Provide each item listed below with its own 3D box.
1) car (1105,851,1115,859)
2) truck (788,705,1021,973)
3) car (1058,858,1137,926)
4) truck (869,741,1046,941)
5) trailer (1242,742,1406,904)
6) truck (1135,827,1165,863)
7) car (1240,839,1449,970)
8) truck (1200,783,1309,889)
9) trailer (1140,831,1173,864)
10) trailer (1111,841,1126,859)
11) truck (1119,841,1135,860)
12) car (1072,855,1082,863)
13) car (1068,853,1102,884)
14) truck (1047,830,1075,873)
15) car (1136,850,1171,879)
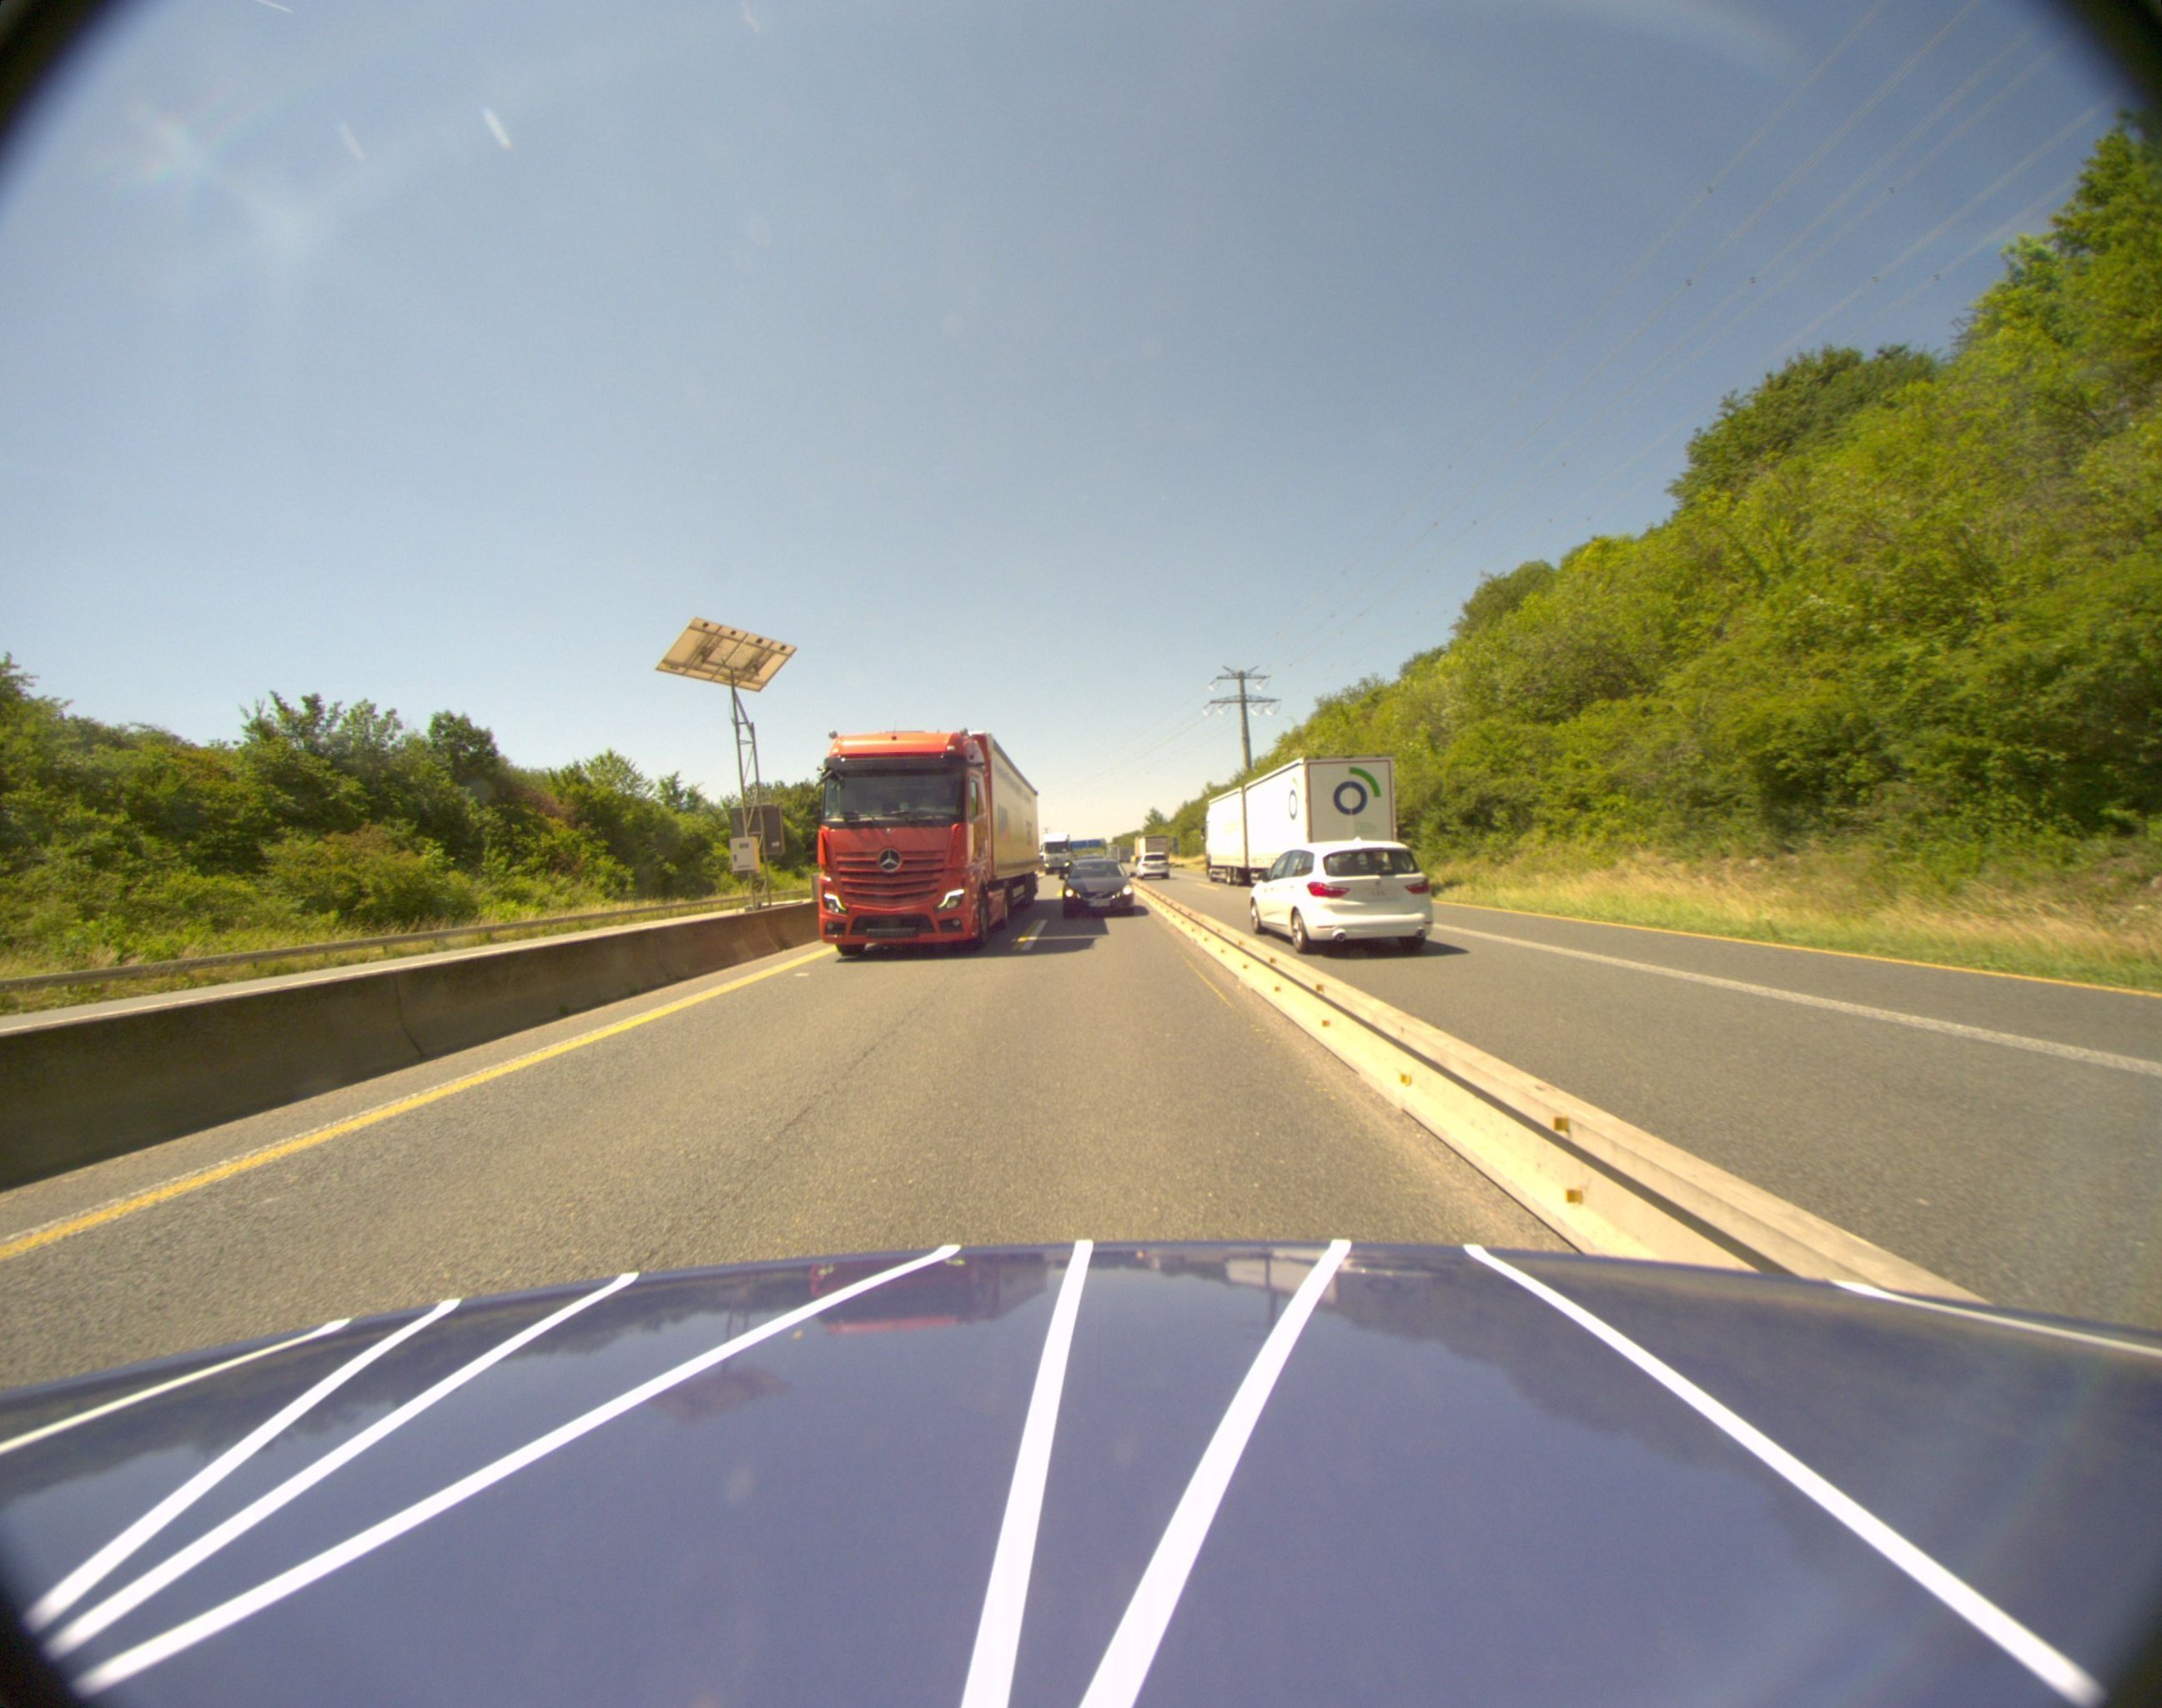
[{"bbox_3d":[6.046,0.238,156.539,1.846,1.481,4.510,-2,1,0],"label":"car"},{"bbox_3d":[-2.986,-0.256,15.067,2.689,3.987,6.725,-3,1,2],"label":"truck"},{"bbox_3d":[0.430,0.901,20.019,1.767,1.411,4.699,-3,1,1],"label":"car"},{"bbox_3d":[-2.844,-0.333,22.238,2.689,3.987,13.217,-3,1,1],"label":"truck"},{"bbox_3d":[7.565,-0.856,25.084,2.644,4.287,8.447,-3,0,1],"label":"trailer"},{"bbox_3d":[8.372,-1.095,93.540,2.656,3.969,9.650,-4,0,1],"label":"truck"},{"bbox_3d":[3.904,0.641,12.098,1.767,1.622,4.296,-3,1,0],"label":"car"},{"bbox_3d":[7.520,-0.701,34.531,2.416,3.969,10.351,-3,0,0],"label":"truck"},{"bbox_3d":[8.257,-0.710,84.256,2.657,3.317,8.919,-4,0,1],"label":"trailer"},{"bbox_3d":[9.085,-0.983,183.623,2.899,4.101,13.243,-3,0,0],"label":"trailer"},{"bbox_3d":[8.904,-0.709,148.437,2.412,3.311,7.497,-3,2,0],"label":"truck"},{"bbox_3d":[-0.812,0.947,152.394,1.767,1.523,4.698,-3,1,-1],"label":"car"},{"bbox_3d":[0.235,0.778,43.381,1.767,1.523,4.699,-3,1,1],"label":"car"},{"bbox_3d":[-1.913,-0.227,78.974,2.481,4.030,13.109,-3,0,0],"label":"truck"},{"bbox_3d":[4.450,0.599,47.181,1.829,1.621,4.150,-3,1,1],"label":"car"}]
